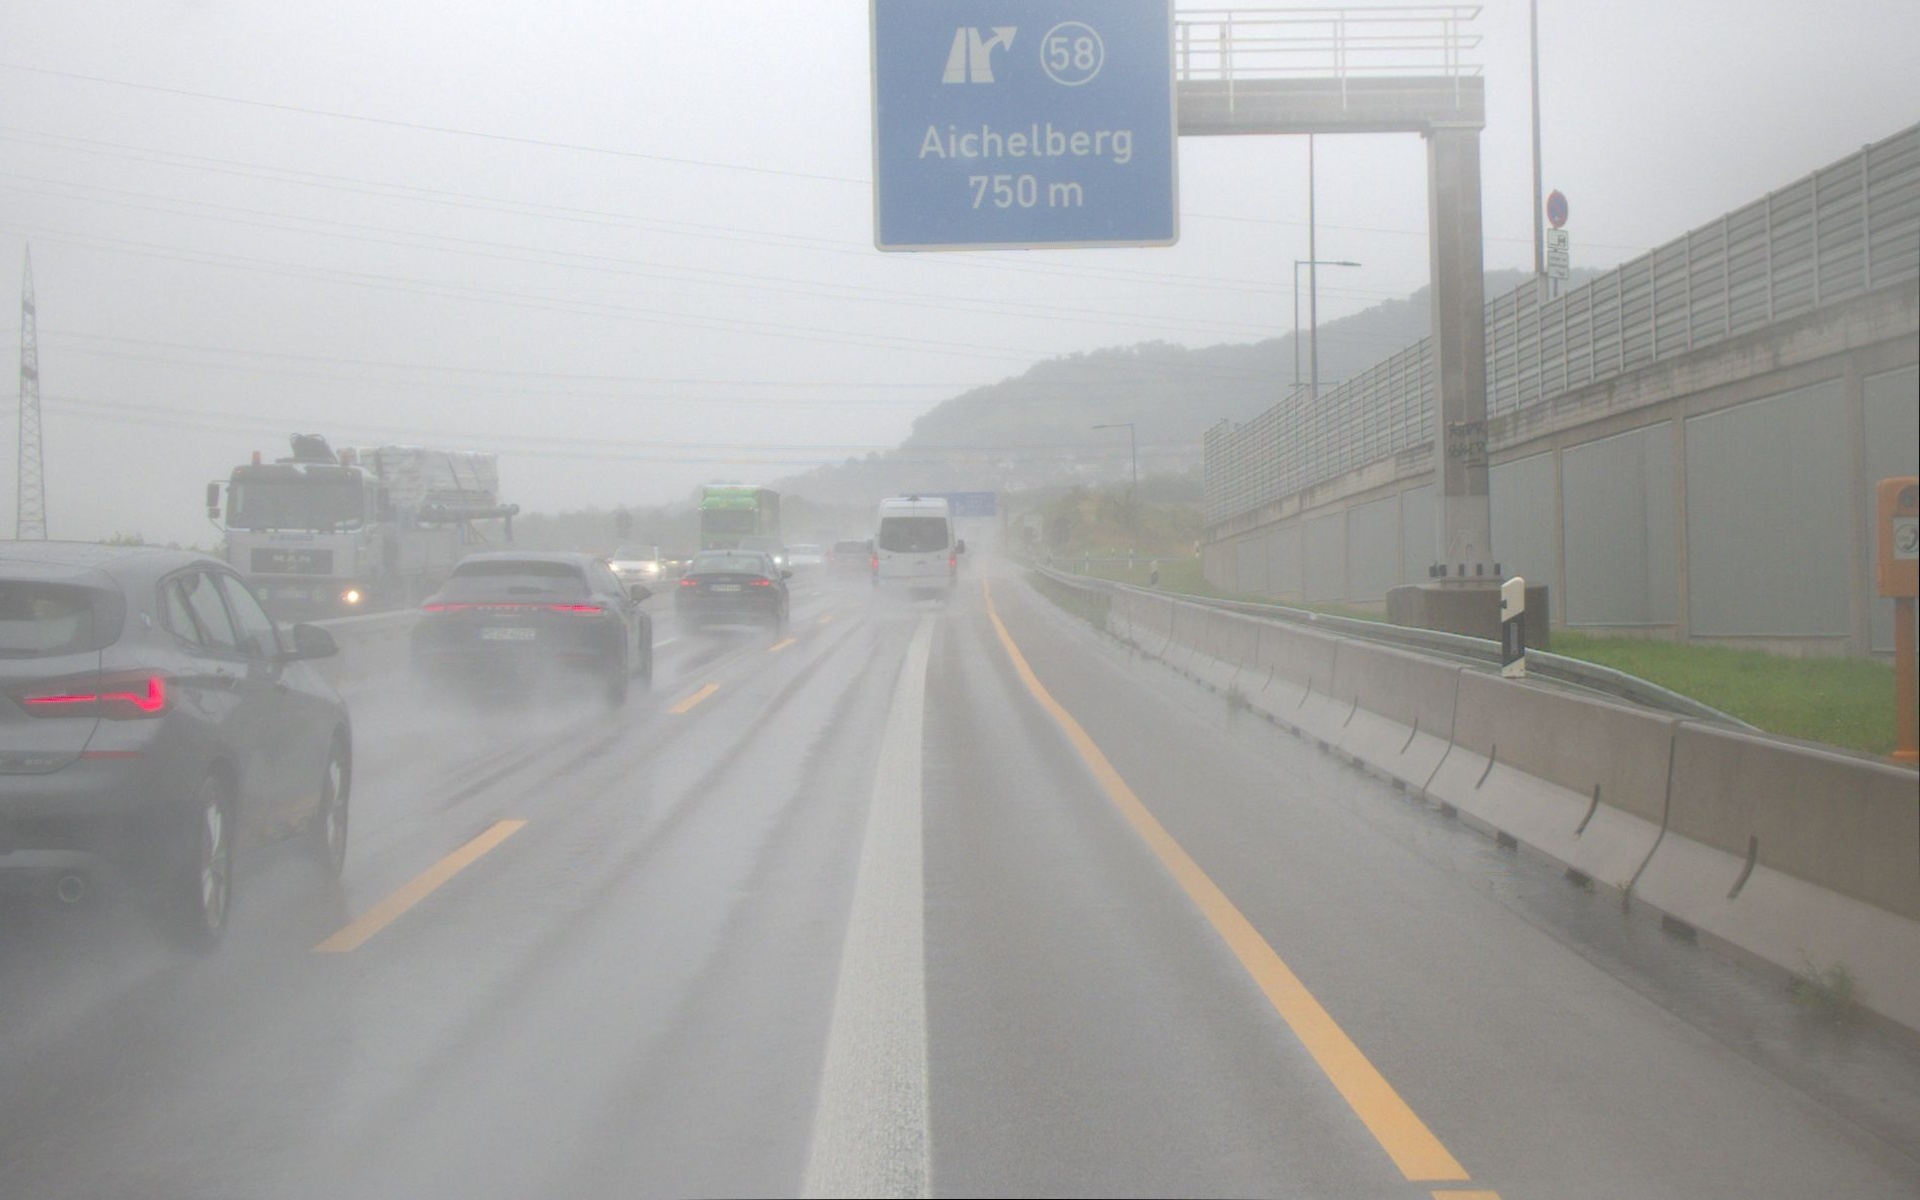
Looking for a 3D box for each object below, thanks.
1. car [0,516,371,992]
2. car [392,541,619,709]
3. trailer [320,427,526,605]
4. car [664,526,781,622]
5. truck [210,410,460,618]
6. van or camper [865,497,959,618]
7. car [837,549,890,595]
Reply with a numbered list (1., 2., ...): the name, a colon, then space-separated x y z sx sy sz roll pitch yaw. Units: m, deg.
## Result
1. car: -3.510 0.528 13.920 1.700 1.592 4.845 0 0 -4
2. car: -4.248 0.233 32.668 1.844 1.486 4.262 0 0 -4
3. trailer: -10.737 -1.680 69.687 2.662 3.351 9.715 0 1 0
4. car: -4.011 -0.467 58.317 1.844 1.486 4.262 -3 1 -4
5. truck: -10.733 -1.475 60.029 2.639 3.336 9.553 0 1 0
6. van or camper: -1.157 -0.960 80.667 1.996 2.768 4.050 0 0 -4
7. car: -3.403 -0.972 120.936 1.566 1.475 2.822 -3 -1 -6
